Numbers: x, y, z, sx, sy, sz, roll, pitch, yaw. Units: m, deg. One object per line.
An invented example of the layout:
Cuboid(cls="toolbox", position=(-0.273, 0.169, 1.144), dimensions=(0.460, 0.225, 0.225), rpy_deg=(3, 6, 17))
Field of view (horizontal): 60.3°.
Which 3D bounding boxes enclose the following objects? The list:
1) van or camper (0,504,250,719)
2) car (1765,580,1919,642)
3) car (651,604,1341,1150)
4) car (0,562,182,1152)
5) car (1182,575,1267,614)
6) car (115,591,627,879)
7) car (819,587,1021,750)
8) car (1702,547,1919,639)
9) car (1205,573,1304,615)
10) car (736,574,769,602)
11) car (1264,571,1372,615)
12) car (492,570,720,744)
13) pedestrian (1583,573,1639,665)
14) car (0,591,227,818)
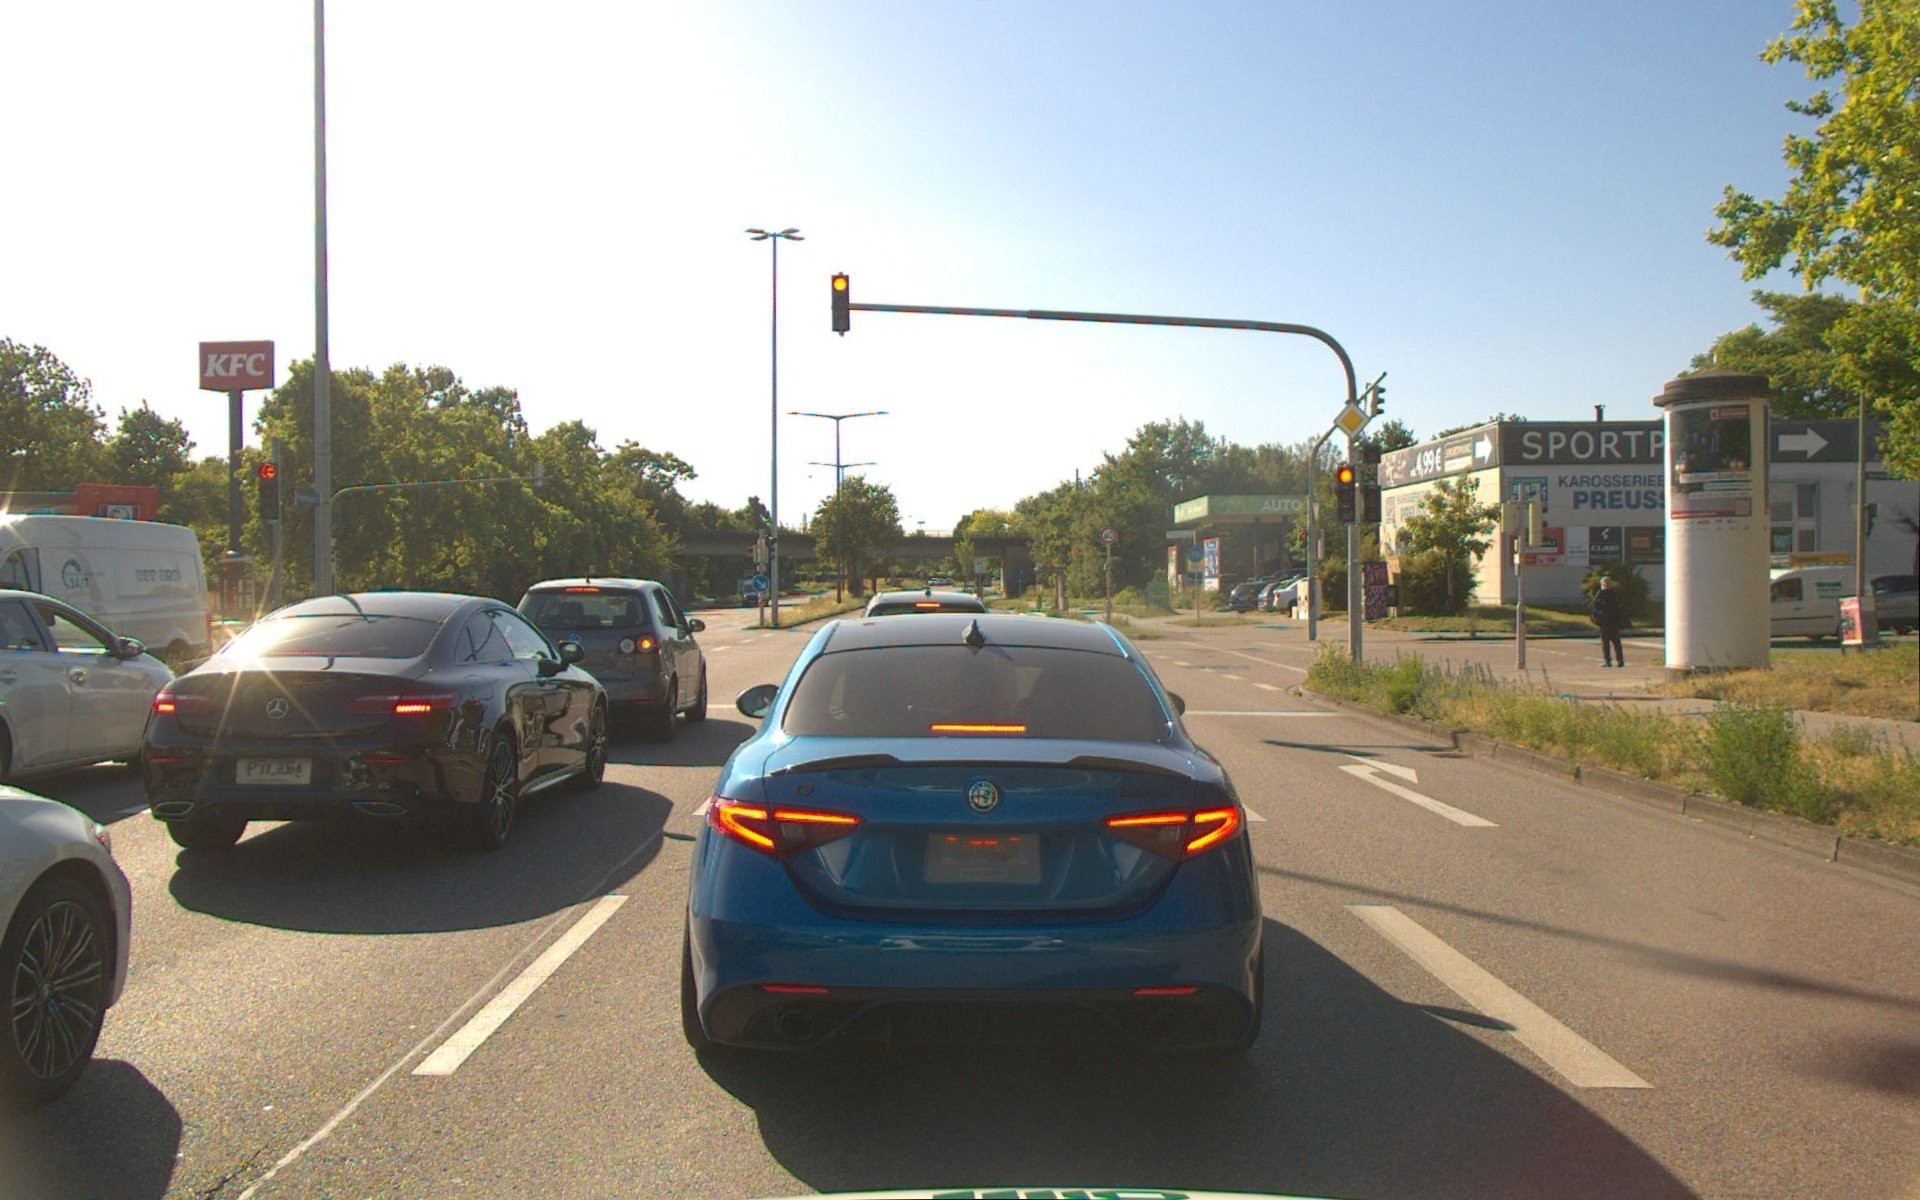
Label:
Cuboid(cls="van or camper", position=(-12.653, 0.161, 23.172), dimensions=(2.132, 2.617, 6.757), rpy_deg=(-2, 0, 3))
Cuboid(cls="car", position=(23.839, 0.276, 43.568), dimensions=(4.318, 1.580, 1.998), rpy_deg=(0, 0, -4))
Cuboid(cls="car", position=(0.071, 0.746, 6.369), dimensions=(1.828, 1.409, 3.931), rpy_deg=(0, 0, -1))
Cuboid(cls="car", position=(-3.350, 0.680, 3.094), dimensions=(1.732, 1.535, 4.460), rpy_deg=(0, 0, -1))
Cuboid(cls="car", position=(11.880, -0.254, 74.329), dimensions=(3.428, 1.736, 1.688), rpy_deg=(0, 0, -16))
Cuboid(cls="car", position=(-3.415, 0.667, 10.567), dimensions=(1.732, 1.439, 4.460), rpy_deg=(0, 0, -1))
Cuboid(cls="car", position=(-0.393, 0.608, 17.053), dimensions=(1.828, 1.475, 3.931), rpy_deg=(0, 0, -1))
Cuboid(cls="car", position=(20.603, -0.181, 40.156), dimensions=(4.318, 2.183, 1.998), rpy_deg=(0, 0, -4))
Cuboid(cls="car", position=(12.675, -0.259, 71.150), dimensions=(3.928, 1.736, 1.686), rpy_deg=(0, 0, -20))
Cuboid(cls="car", position=(-18.440, -1.069, 146.969), dimensions=(2.383, 2.469, 5.828), rpy_deg=(0, 0, -2))
Cuboid(cls="car", position=(14.347, -0.270, 66.320), dimensions=(3.923, 1.736, 1.687), rpy_deg=(0, 0, -17))
Cuboid(cls="car", position=(-3.598, 0.523, 17.453), dimensions=(1.615, 1.626, 3.931), rpy_deg=(0, 0, -1))
Cuboid(cls="pedestrian", position=(12.627, 0.360, 32.108), dimensions=(0.805, 1.752, 0.854), rpy_deg=(0, 0, 6))
Cuboid(cls="car", position=(-7.125, 0.670, 11.867), dimensions=(1.819, 1.454, 4.403), rpy_deg=(0, 0, -1))
